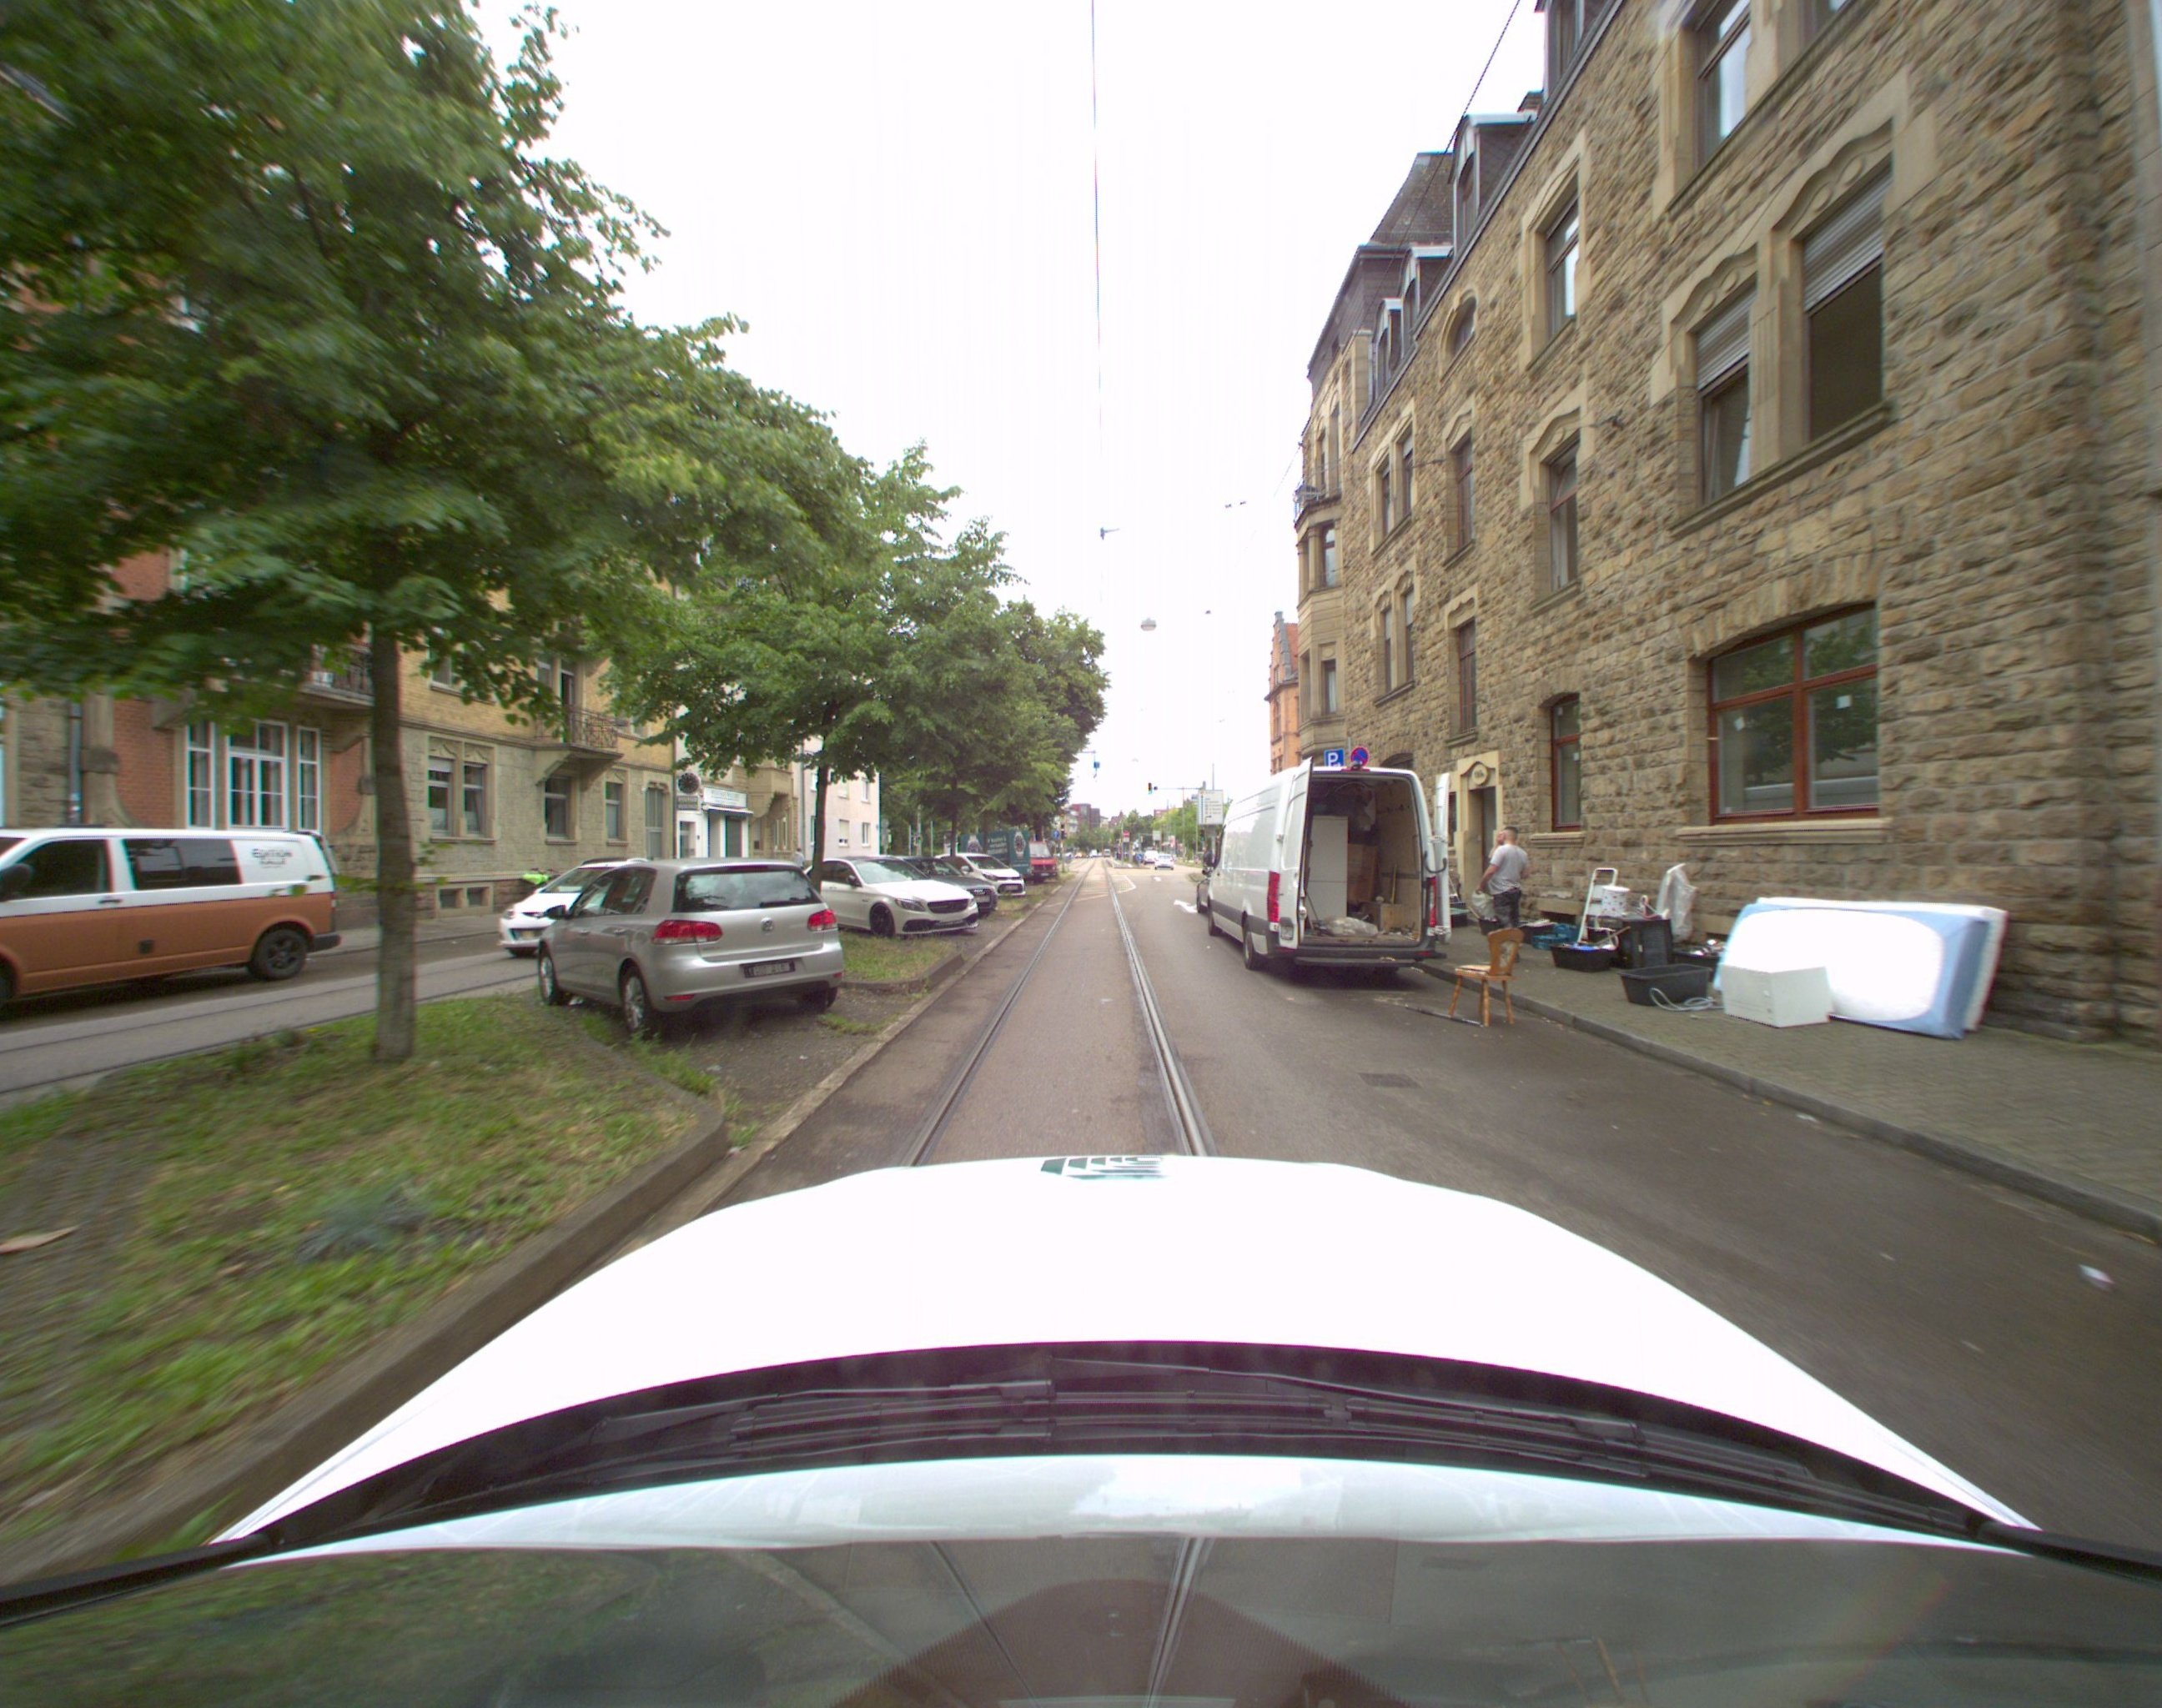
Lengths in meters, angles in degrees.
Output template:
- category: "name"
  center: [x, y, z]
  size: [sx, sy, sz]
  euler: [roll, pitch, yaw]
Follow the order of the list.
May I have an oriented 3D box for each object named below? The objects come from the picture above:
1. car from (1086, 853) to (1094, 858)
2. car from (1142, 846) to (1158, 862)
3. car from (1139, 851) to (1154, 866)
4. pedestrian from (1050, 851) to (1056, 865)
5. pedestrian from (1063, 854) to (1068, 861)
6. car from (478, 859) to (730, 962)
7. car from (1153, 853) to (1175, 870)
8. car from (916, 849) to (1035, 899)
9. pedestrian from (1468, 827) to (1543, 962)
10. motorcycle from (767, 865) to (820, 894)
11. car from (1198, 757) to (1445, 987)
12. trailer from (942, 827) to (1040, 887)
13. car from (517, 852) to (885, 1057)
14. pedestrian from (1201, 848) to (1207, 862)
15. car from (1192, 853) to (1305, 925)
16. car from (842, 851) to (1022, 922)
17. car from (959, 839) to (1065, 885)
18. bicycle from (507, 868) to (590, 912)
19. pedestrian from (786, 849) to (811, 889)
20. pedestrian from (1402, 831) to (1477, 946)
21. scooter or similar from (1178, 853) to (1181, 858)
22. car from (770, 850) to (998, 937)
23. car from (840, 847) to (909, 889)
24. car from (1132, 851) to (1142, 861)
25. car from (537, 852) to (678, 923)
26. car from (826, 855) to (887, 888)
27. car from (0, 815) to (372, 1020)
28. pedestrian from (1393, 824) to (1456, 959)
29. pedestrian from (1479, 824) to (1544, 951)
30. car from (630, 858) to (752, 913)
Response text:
- category: "car"
  center: [2.794, 0.443, 252.562]
  size: [1.760, 1.493, 3.895]
  euler: [0, 0, 8]
- category: "car"
  center: [8.746, -0.026, 103.663]
  size: [1.776, 1.962, 4.383]
  euler: [0, 0, 1]
- category: "car"
  center: [8.983, 0.622, 111.673]
  size: [1.776, 1.962, 4.384]
  euler: [0, 0, 1]
- category: "pedestrian"
  center: [-3.514, 0.500, 102.736]
  size: [0.699, 1.715, 0.697]
  euler: [-1, 0, -7]
- category: "pedestrian"
  center: [-3.067, 0.655, 159.226]
  size: [0.862, 1.267, 0.693]
  euler: [-1, 0, -1]
- category: "car"
  center: [-8.031, 0.845, 14.322]
  size: [1.638, 1.504, 4.622]
  euler: [0, 0, 1]
- category: "car"
  center: [7.597, 0.669, 74.803]
  size: [1.775, 1.472, 4.013]
  euler: [0, 0, 3]
- category: "car"
  center: [-3.397, 0.584, 25.841]
  size: [3.815, 1.463, 1.700]
  euler: [0, 0, 43]
- category: "pedestrian"
  center: [5.582, 0.510, 10.716]
  size: [0.706, 1.700, 0.488]
  euler: [-3, 0, -27]
- category: "motorcycle"
  center: [-11.141, 0.966, 31.659]
  size: [0.703, 1.038, 2.240]
  euler: [-1, 0, 18]
- category: "car"
  center: [3.211, 0.191, 12.679]
  size: [2.005, 2.549, 7.020]
  euler: [1, 0, 2]
- category: "trailer"
  center: [-3.745, 0.128, 33.833]
  size: [3.624, 2.344, 1.943]
  euler: [-1, 0, 34]
- category: "car"
  center: [-3.861, 0.729, 7.948]
  size: [4.065, 1.484, 1.808]
  euler: [0, 0, 42]
- category: "pedestrian"
  center: [16.415, 0.149, 108.721]
  size: [0.737, 1.869, 0.682]
  euler: [-1, 0, 1]
- category: "car"
  center: [3.745, 0.704, 19.074]
  size: [1.816, 1.450, 5.010]
  euler: [1, 0, 2]
- category: "car"
  center: [-3.515, 0.666, 18.786]
  size: [4.286, 1.435, 1.910]
  euler: [0, 0, 43]
- category: "car"
  center: [-3.150, 0.353, 36.717]
  size: [4.707, 1.974, 1.972]
  euler: [-1, 0, 40]
- category: "bicycle"
  center: [-14.070, 0.930, 21.611]
  size: [0.708, 1.072, 2.259]
  euler: [0, 0, 0]
- category: "pedestrian"
  center: [-12.875, 0.674, 37.161]
  size: [0.795, 1.766, 0.900]
  euler: [-1, 0, 0]
- category: "pedestrian"
  center: [5.566, 0.526, 12.666]
  size: [0.863, 1.700, 0.535]
  euler: [-3, 0, -13]
- category: "scooter or similar"
  center: [20.244, 0.310, 167.127]
  size: [0.373, 1.141, 1.203]
  euler: [-1, 0, 12]
- category: "car"
  center: [-3.902, 0.661, 15.706]
  size: [4.628, 1.435, 1.911]
  euler: [0, 0, 40]
- category: "car"
  center: [-7.915, 0.521, 31.574]
  size: [1.638, 1.504, 3.883]
  euler: [0, 0, 1]
- category: "car"
  center: [10.275, 0.359, 149.889]
  size: [1.776, 1.679, 4.384]
  euler: [0, 0, 1]
- category: "car"
  center: [-11.172, 0.742, 19.426]
  size: [1.629, 1.550, 2.950]
  euler: [0, 0, 0]
- category: "car"
  center: [-10.491, 0.779, 38.362]
  size: [1.629, 1.443, 4.569]
  euler: [0, 0, 0]
- category: "car"
  center: [-11.202, 0.615, 9.190]
  size: [1.875, 1.952, 5.094]
  euler: [0, 0, 1]
- category: "pedestrian"
  center: [4.823, 0.507, 11.470]
  size: [0.497, 1.815, 0.803]
  euler: [-3, 0, 3]
- category: "pedestrian"
  center: [6.082, 0.460, 11.524]
  size: [0.507, 1.717, 0.579]
  euler: [-3, 0, -9]
- category: "car"
  center: [-11.151, 0.840, 23.599]
  size: [1.629, 1.443, 3.923]
  euler: [0, 0, 0]
